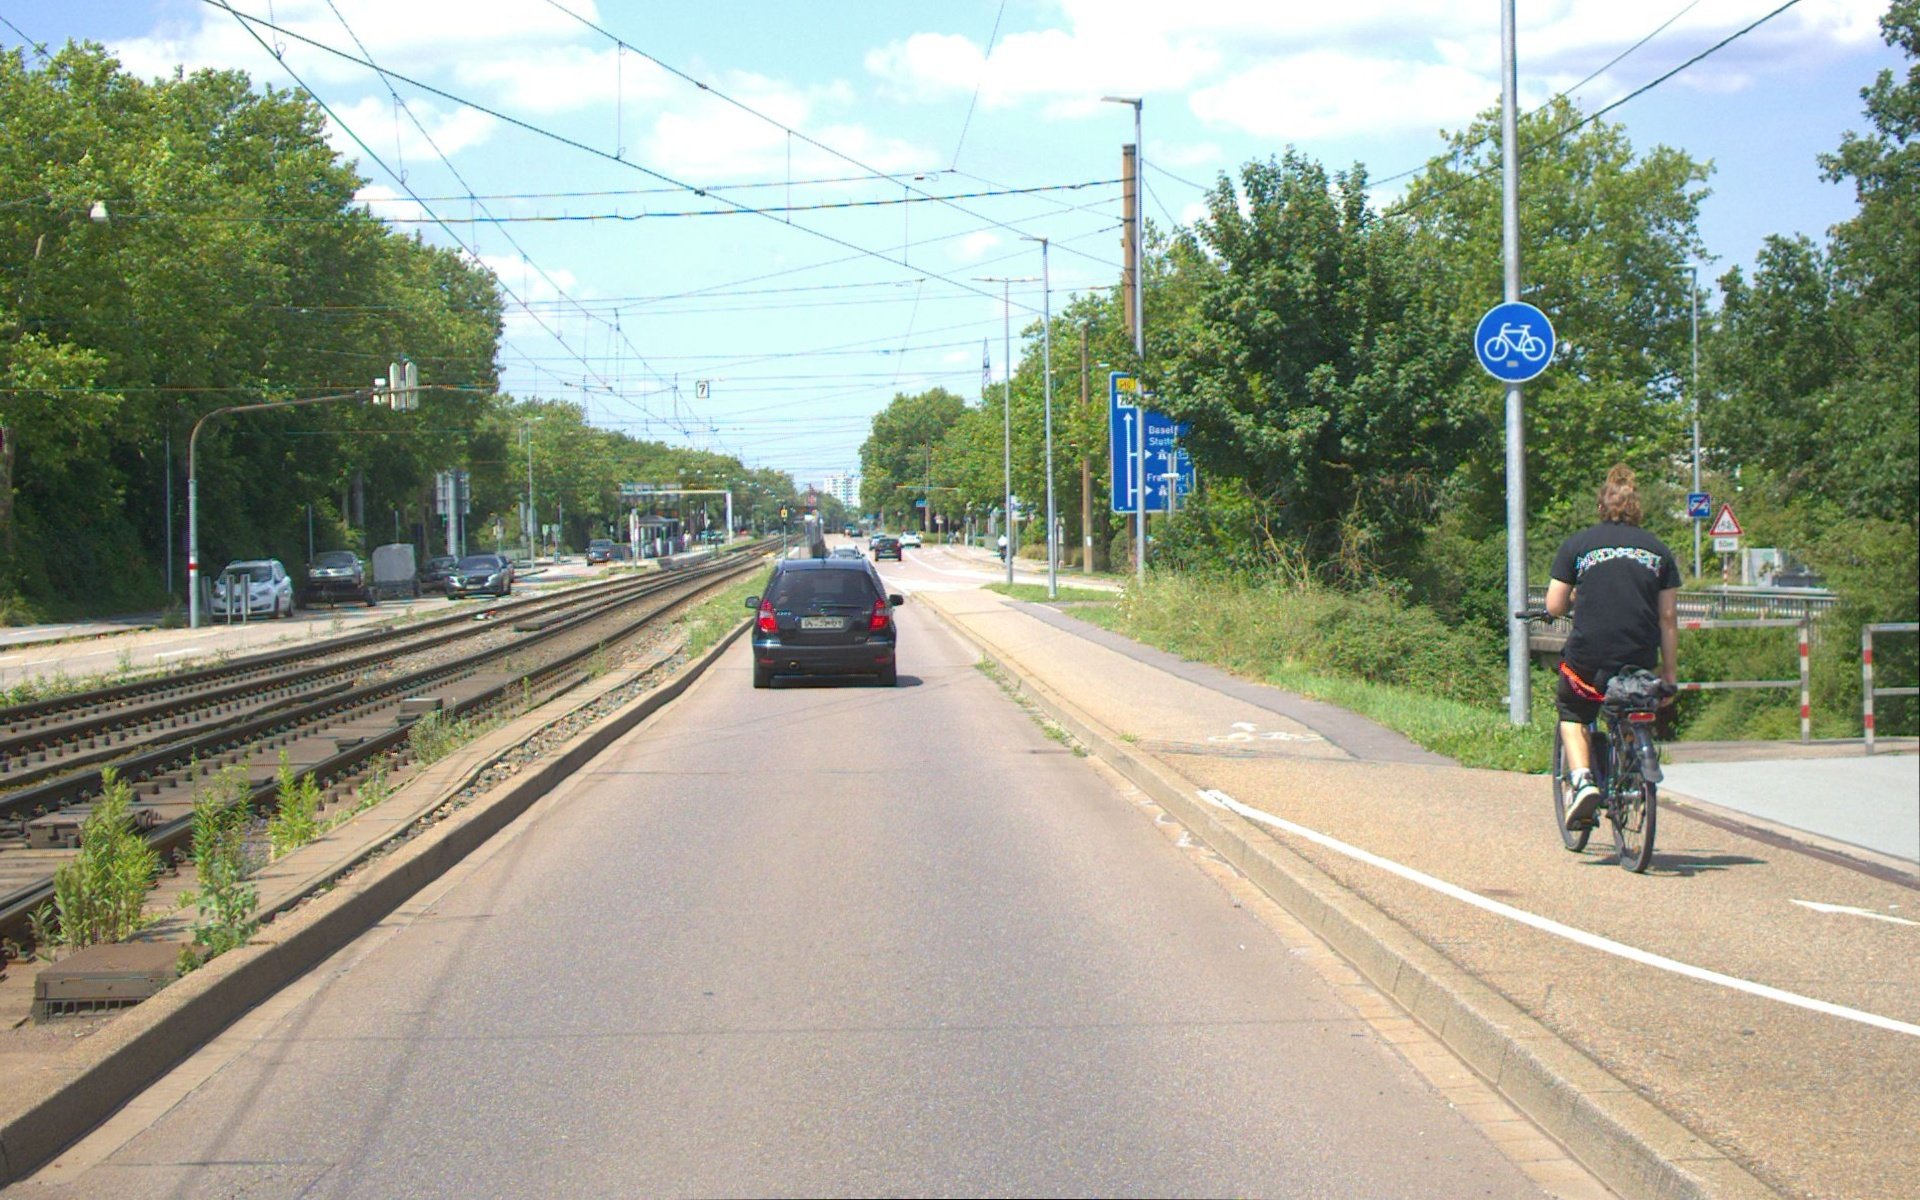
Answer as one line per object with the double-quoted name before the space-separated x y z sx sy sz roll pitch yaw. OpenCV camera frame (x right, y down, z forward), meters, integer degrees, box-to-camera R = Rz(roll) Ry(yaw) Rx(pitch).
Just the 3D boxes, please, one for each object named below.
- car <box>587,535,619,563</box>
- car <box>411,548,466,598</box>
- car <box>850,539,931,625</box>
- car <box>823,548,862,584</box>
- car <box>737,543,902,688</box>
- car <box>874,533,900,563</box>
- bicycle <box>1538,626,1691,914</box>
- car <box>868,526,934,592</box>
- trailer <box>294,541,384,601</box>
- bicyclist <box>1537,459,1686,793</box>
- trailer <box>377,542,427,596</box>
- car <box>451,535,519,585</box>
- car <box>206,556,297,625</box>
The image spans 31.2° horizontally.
"car" -26.576 -3.831 255.857 1.993 2.007 4.000 -2 1 -2
"car" -22.410 -1.191 147.851 1.854 2.006 4.001 0 2 -1
"car" -1.739 -0.486 86.392 1.993 2.006 4.001 0 2 -1
"car" -6.066 -1.761 177.614 1.884 1.634 4.001 2 2 -1
"car" -1.709 0.152 43.131 1.853 1.564 4.389 0 3 1
"car" -5.111 -3.656 239.930 1.786 2.006 4.001 0 2 -2
"bicycle" 2.978 0.740 15.753 0.432 1.148 1.855 0 2 3
"car" -1.922 -1.341 110.614 1.993 2.006 4.001 0 2 -3
"trailer" -20.250 -0.974 112.361 2.461 1.882 5.963 -1 1 -6
"bicyclist" 2.964 0.106 15.668 0.585 1.489 0.558 0 2 3
"trailer" -21.545 -1.203 132.786 1.609 2.006 3.917 0 2 -5
"car" -16.769 -1.433 121.595 1.875 1.714 5.331 -1 1 -2
"car" -19.891 -0.289 96.611 1.720 1.625 4.617 -4 3 -3
